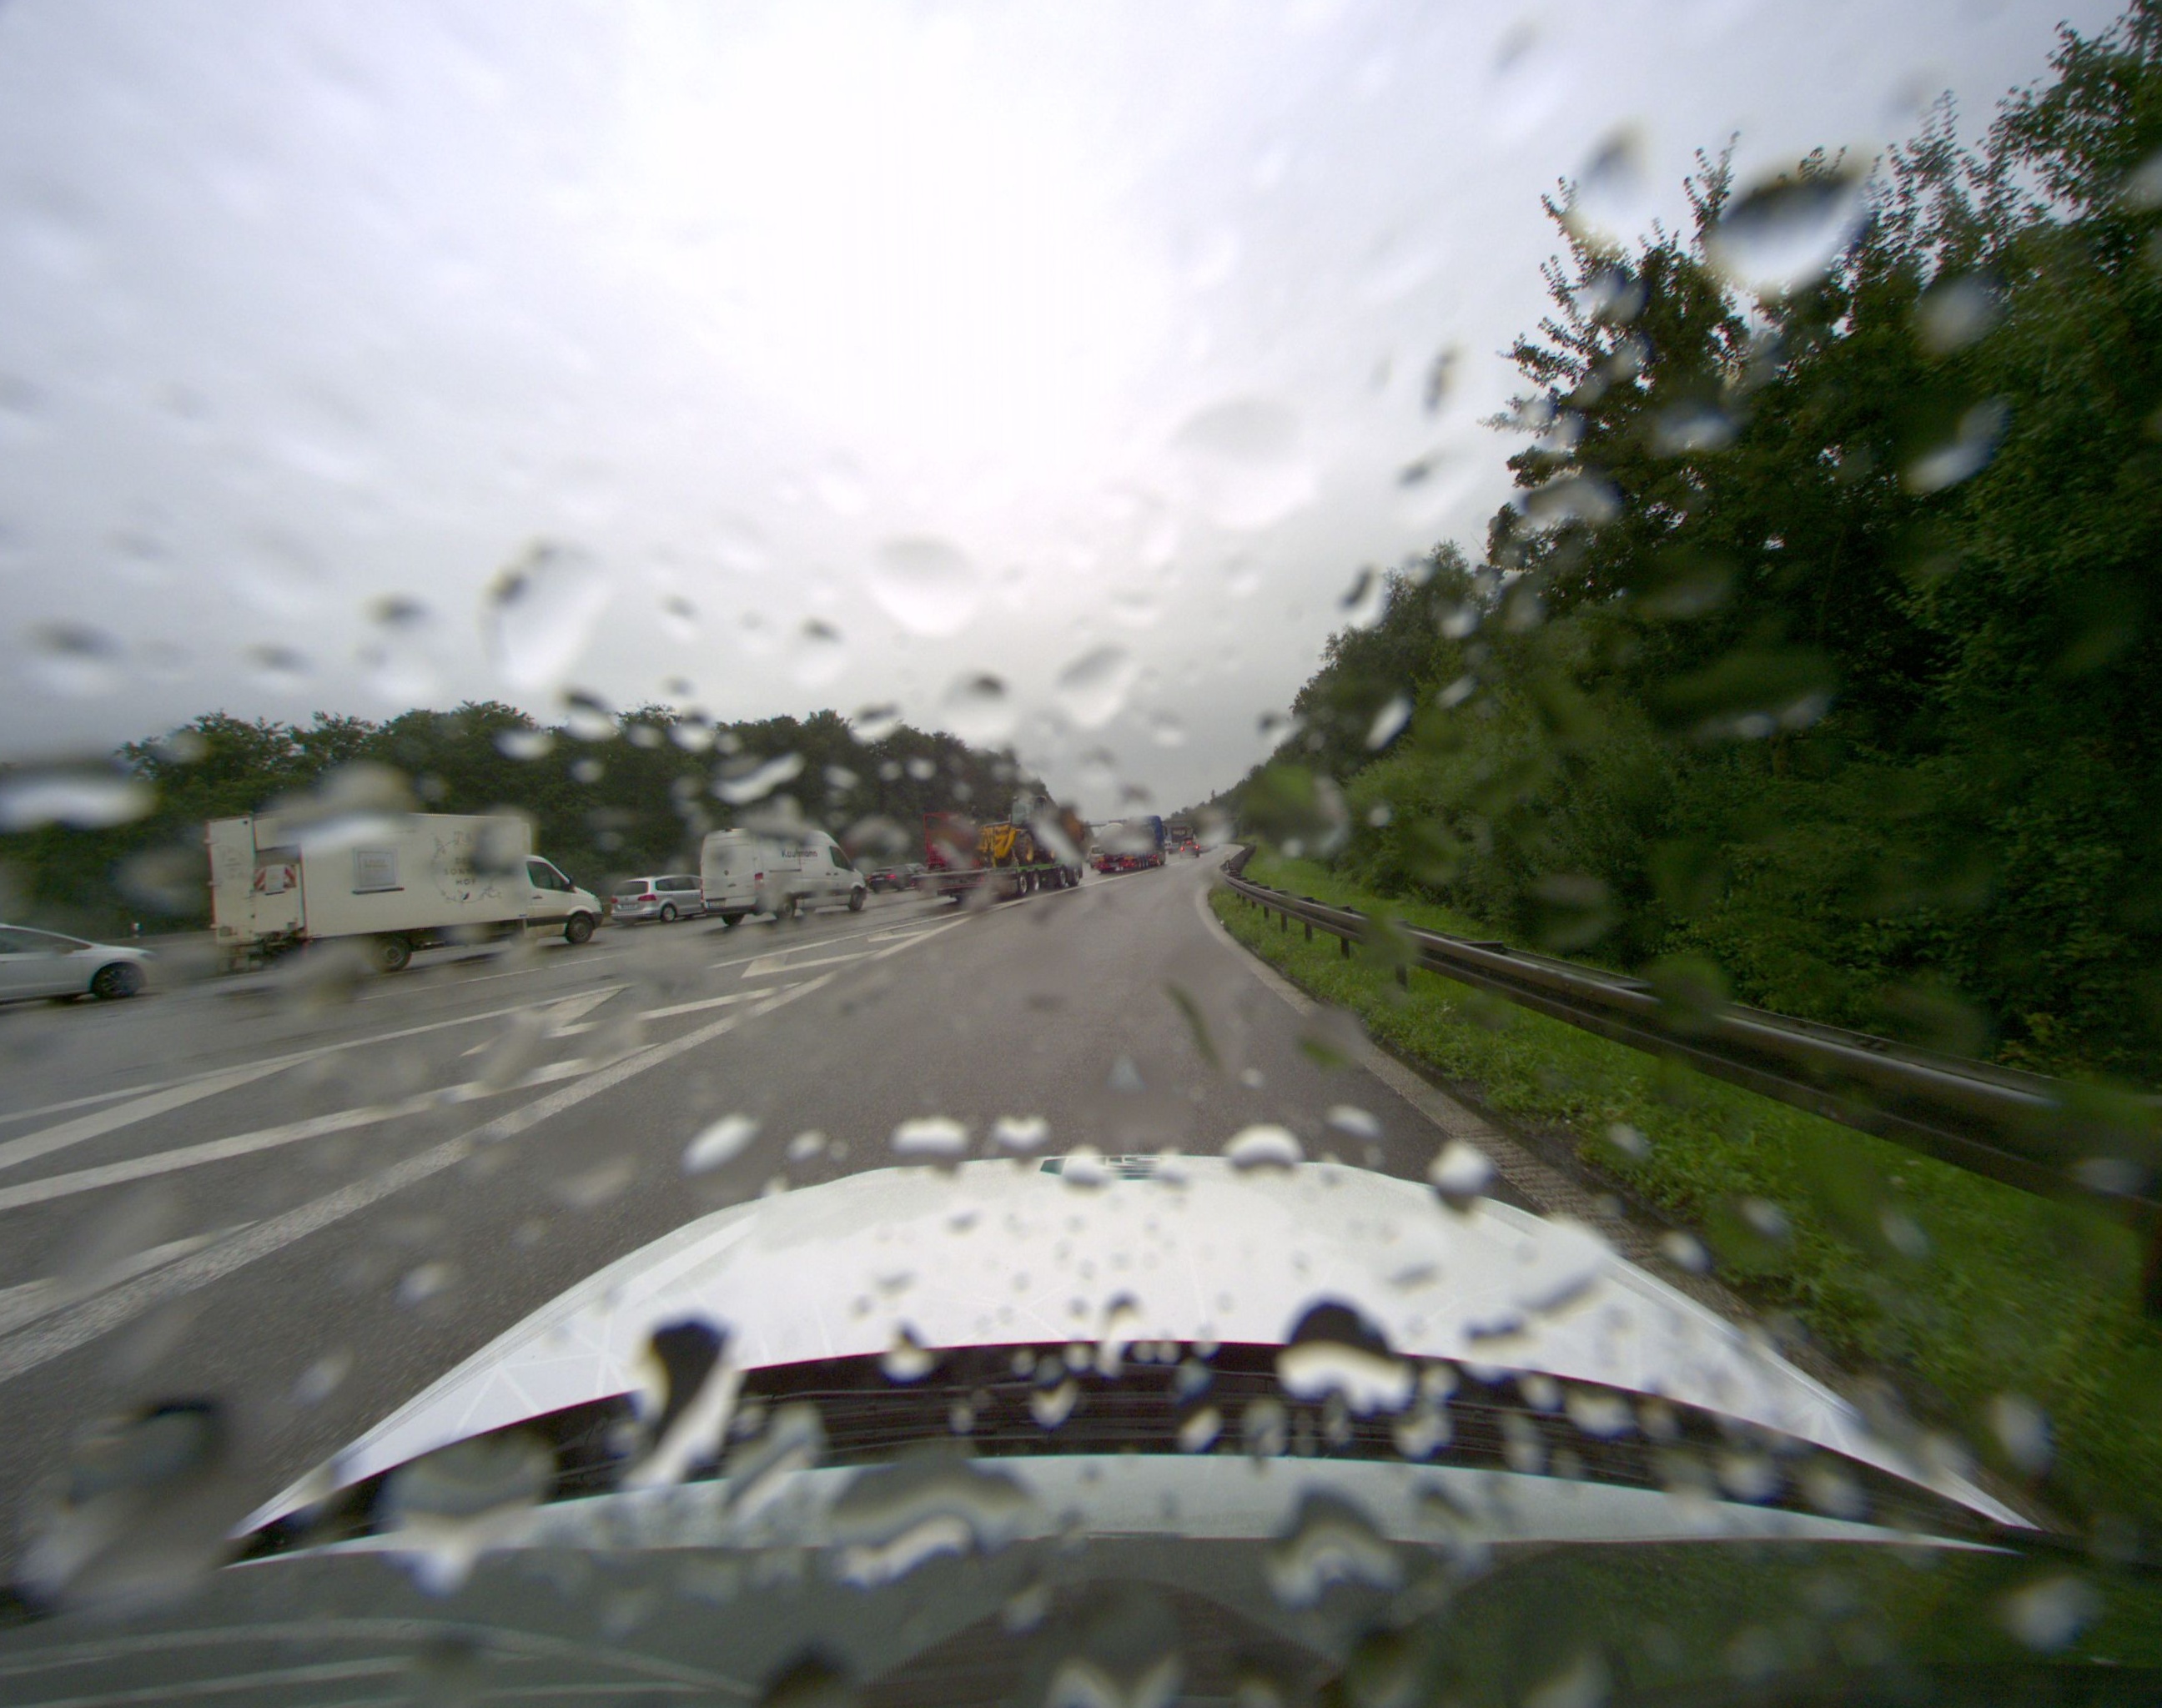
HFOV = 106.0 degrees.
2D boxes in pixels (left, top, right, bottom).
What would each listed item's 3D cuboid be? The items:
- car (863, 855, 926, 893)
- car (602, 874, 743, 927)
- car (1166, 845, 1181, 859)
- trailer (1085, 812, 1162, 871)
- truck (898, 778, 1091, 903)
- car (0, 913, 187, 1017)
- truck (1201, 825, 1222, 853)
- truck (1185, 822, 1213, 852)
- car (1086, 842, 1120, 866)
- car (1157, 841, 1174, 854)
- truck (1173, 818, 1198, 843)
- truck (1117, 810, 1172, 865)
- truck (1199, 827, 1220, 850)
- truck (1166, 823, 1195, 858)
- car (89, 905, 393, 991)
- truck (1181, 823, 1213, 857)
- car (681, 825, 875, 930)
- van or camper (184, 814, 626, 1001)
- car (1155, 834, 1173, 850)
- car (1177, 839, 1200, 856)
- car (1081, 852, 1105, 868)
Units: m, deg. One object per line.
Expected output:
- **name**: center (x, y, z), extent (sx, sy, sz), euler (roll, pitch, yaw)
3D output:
- **car**: center (-10.524, 1.101, 46.300), extent (1.784, 2.014, 4.016), euler (0, -1, 15)
- **car**: center (-14.704, 1.625, 29.631), extent (1.852, 1.522, 4.649), euler (-4, 0, 15)
- **car**: center (13.050, -0.226, 114.887), extent (1.786, 1.904, 4.012), euler (-1, -1, 11)
- **trailer**: center (3.009, -0.872, 53.481), extent (2.852, 3.288, 10.119), euler (-4, 1, 15)
- **truck**: center (-2.597, -0.493, 30.464), extent (2.810, 3.588, 11.847), euler (-5, 0, 15)
- **car**: center (-18.653, 1.984, 13.780), extent (1.603, 1.522, 4.433), euler (-4, 0, 16)
- **truck**: center (27.693, -3.084, 172.462), extent (4.309, 5.764, 9.757), euler (0, -1, 10)
- **truck**: center (18.376, -2.543, 126.187), extent (3.483, 4.268, 10.641), euler (0, -1, 13)
- **car**: center (1.776, -0.043, 64.638), extent (1.807, 1.767, 4.014), euler (-3, 0, 13)
- **car**: center (20.276, -1.604, 194.373), extent (3.225, 3.002, 6.795), euler (0, -1, 12)
- **truck**: center (19.800, -4.389, 153.873), extent (3.552, 4.095, 10.916), euler (-4, -1, 12)
- **truck**: center (4.742, -1.244, 60.015), extent (2.856, 3.693, 5.077), euler (-4, 0, 15)
- **truck**: center (23.872, -2.820, 151.244), extent (3.733, 3.970, 11.086), euler (0, -1, 9)
- **truck**: center (16.562, -2.108, 134.887), extent (3.729, 5.499, 10.207), euler (0, -1, 12)
- **car**: center (-20.099, 2.182, 19.870), extent (1.731, 1.425, 4.854), euler (-4, 0, 16)
- **truck**: center (15.844, -1.893, 110.613), extent (3.577, 4.104, 11.595), euler (-4, 0, 10)
- **car**: center (-8.674, 0.588, 24.110), extent (2.199, 2.629, 5.868), euler (-4, 0, 15)
- **van or camper**: center (-14.008, 0.932, 17.896), extent (2.560, 3.204, 7.160), euler (-4, 0, 15)
- **car**: center (16.105, -2.255, 157.797), extent (3.076, 3.002, 6.792), euler (0, -1, 10)
- **car**: center (10.580, -0.594, 79.800), extent (1.980, 1.636, 4.013), euler (0, -1, 12)
- **car**: center (1.504, 0.703, 97.681), extent (1.980, 1.772, 4.149), euler (-3, 0, 12)
